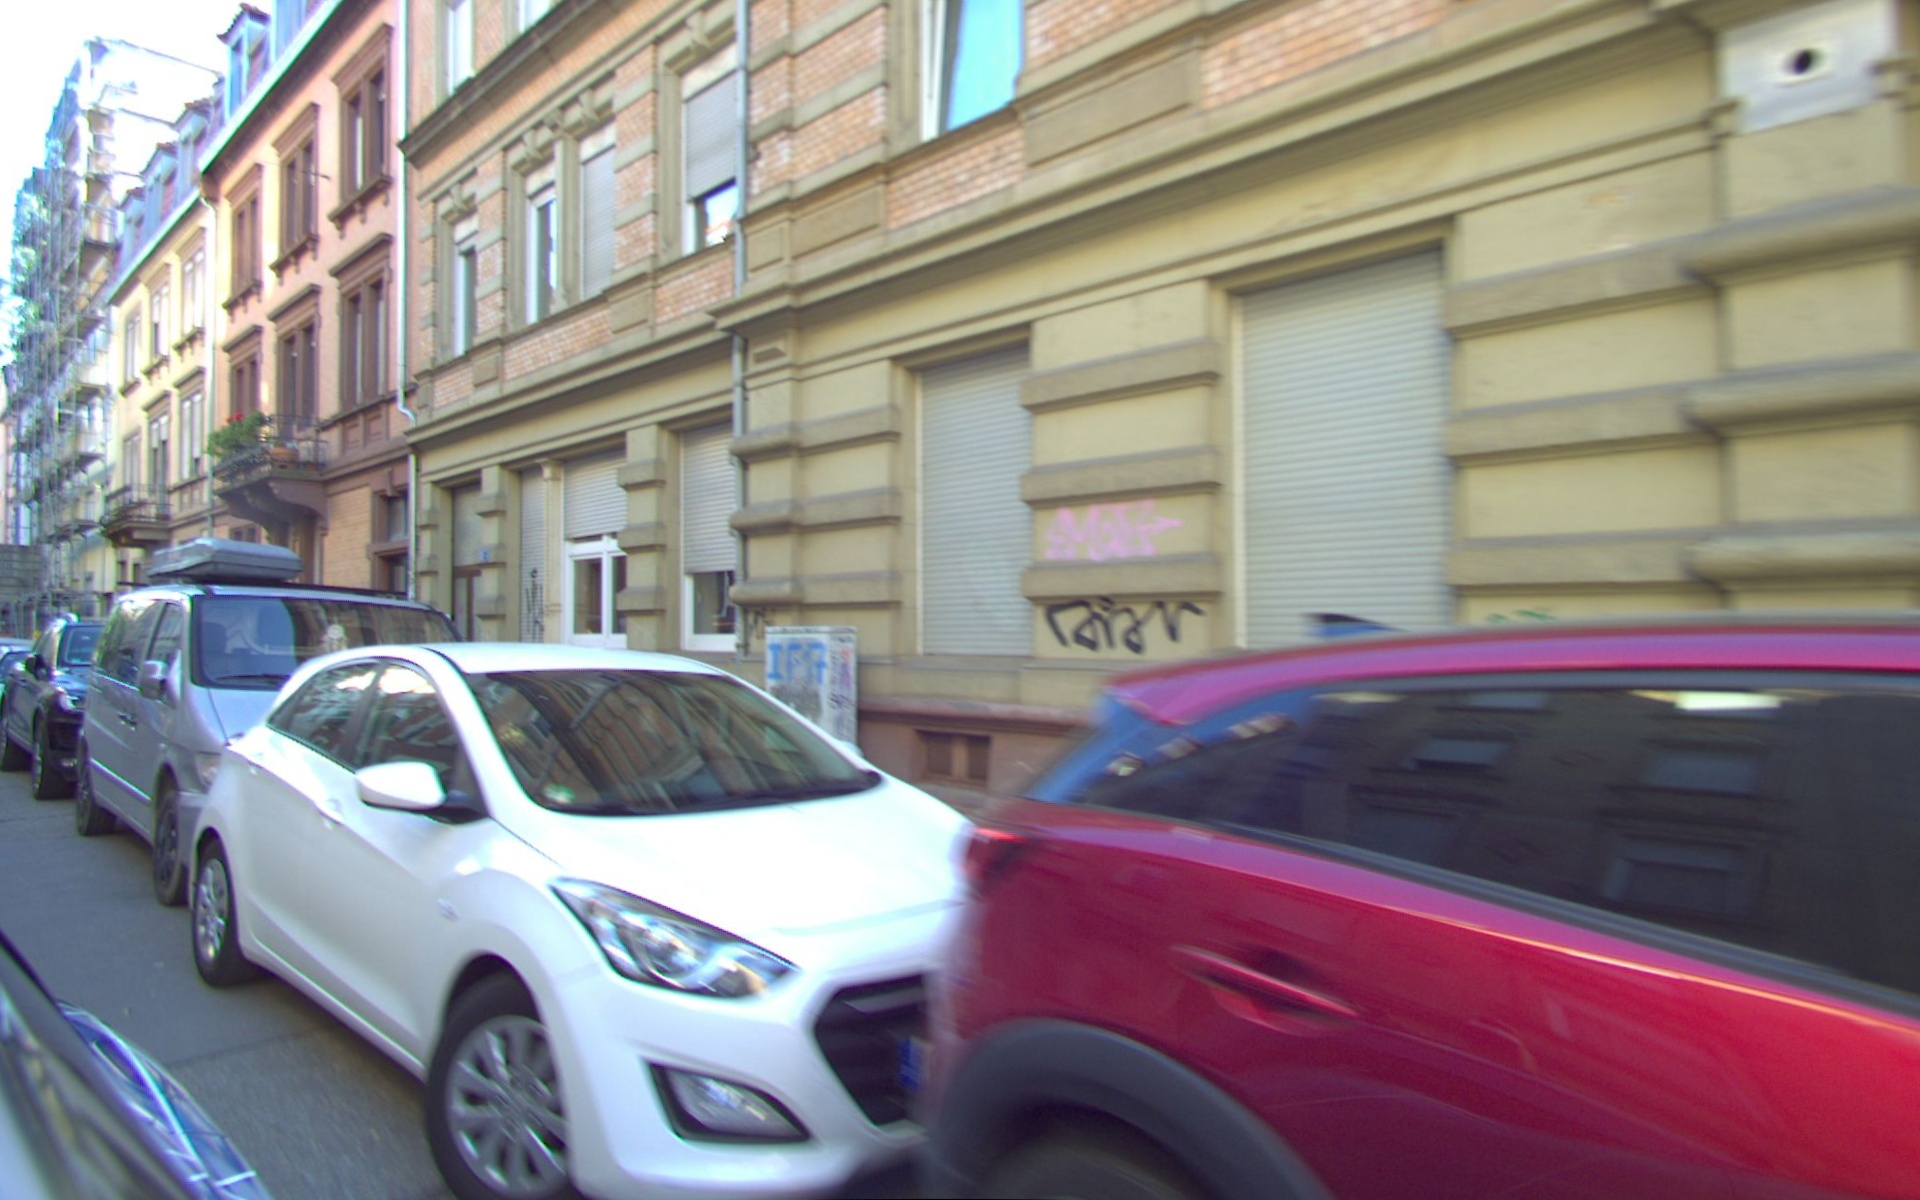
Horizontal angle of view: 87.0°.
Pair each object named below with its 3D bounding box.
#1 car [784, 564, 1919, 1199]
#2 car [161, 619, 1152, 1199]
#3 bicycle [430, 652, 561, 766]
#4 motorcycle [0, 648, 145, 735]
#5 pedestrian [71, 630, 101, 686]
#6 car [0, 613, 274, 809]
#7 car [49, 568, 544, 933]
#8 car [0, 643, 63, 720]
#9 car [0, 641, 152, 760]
[{"bbox_3d":[1.757,0.703,1.194,4.088,1.492,1.704,-2,-1,42],"label":"car"},{"bbox_3d":[-1.426,0.822,3.730,3.871,1.431,1.657,-2,-1,40],"label":"car"},{"bbox_3d":[-5.214,1.169,11.308,1.784,1.134,0.660,-3,-1,42],"label":"bicycle"},{"bbox_3d":[-15.206,1.523,17.043,2.165,1.370,0.844,2,-4,-1],"label":"motorcycle"},{"bbox_3d":[-20.742,1.372,24.017,0.646,1.294,0.445,-2,-1,42],"label":"pedestrian"},{"bbox_3d":[-8.975,0.999,10.758,4.607,1.636,1.769,-2,-1,42],"label":"car"},{"bbox_3d":[-4.964,0.799,7.247,4.606,1.798,1.872,-2,-1,42],"label":"car"},{"bbox_3d":[-19.181,1.552,19.950,3.997,1.430,1.656,-2,-4,41],"label":"car"},{"bbox_3d":[-12.681,1.288,13.987,3.998,1.324,1.681,-2,1,42],"label":"car"}]
